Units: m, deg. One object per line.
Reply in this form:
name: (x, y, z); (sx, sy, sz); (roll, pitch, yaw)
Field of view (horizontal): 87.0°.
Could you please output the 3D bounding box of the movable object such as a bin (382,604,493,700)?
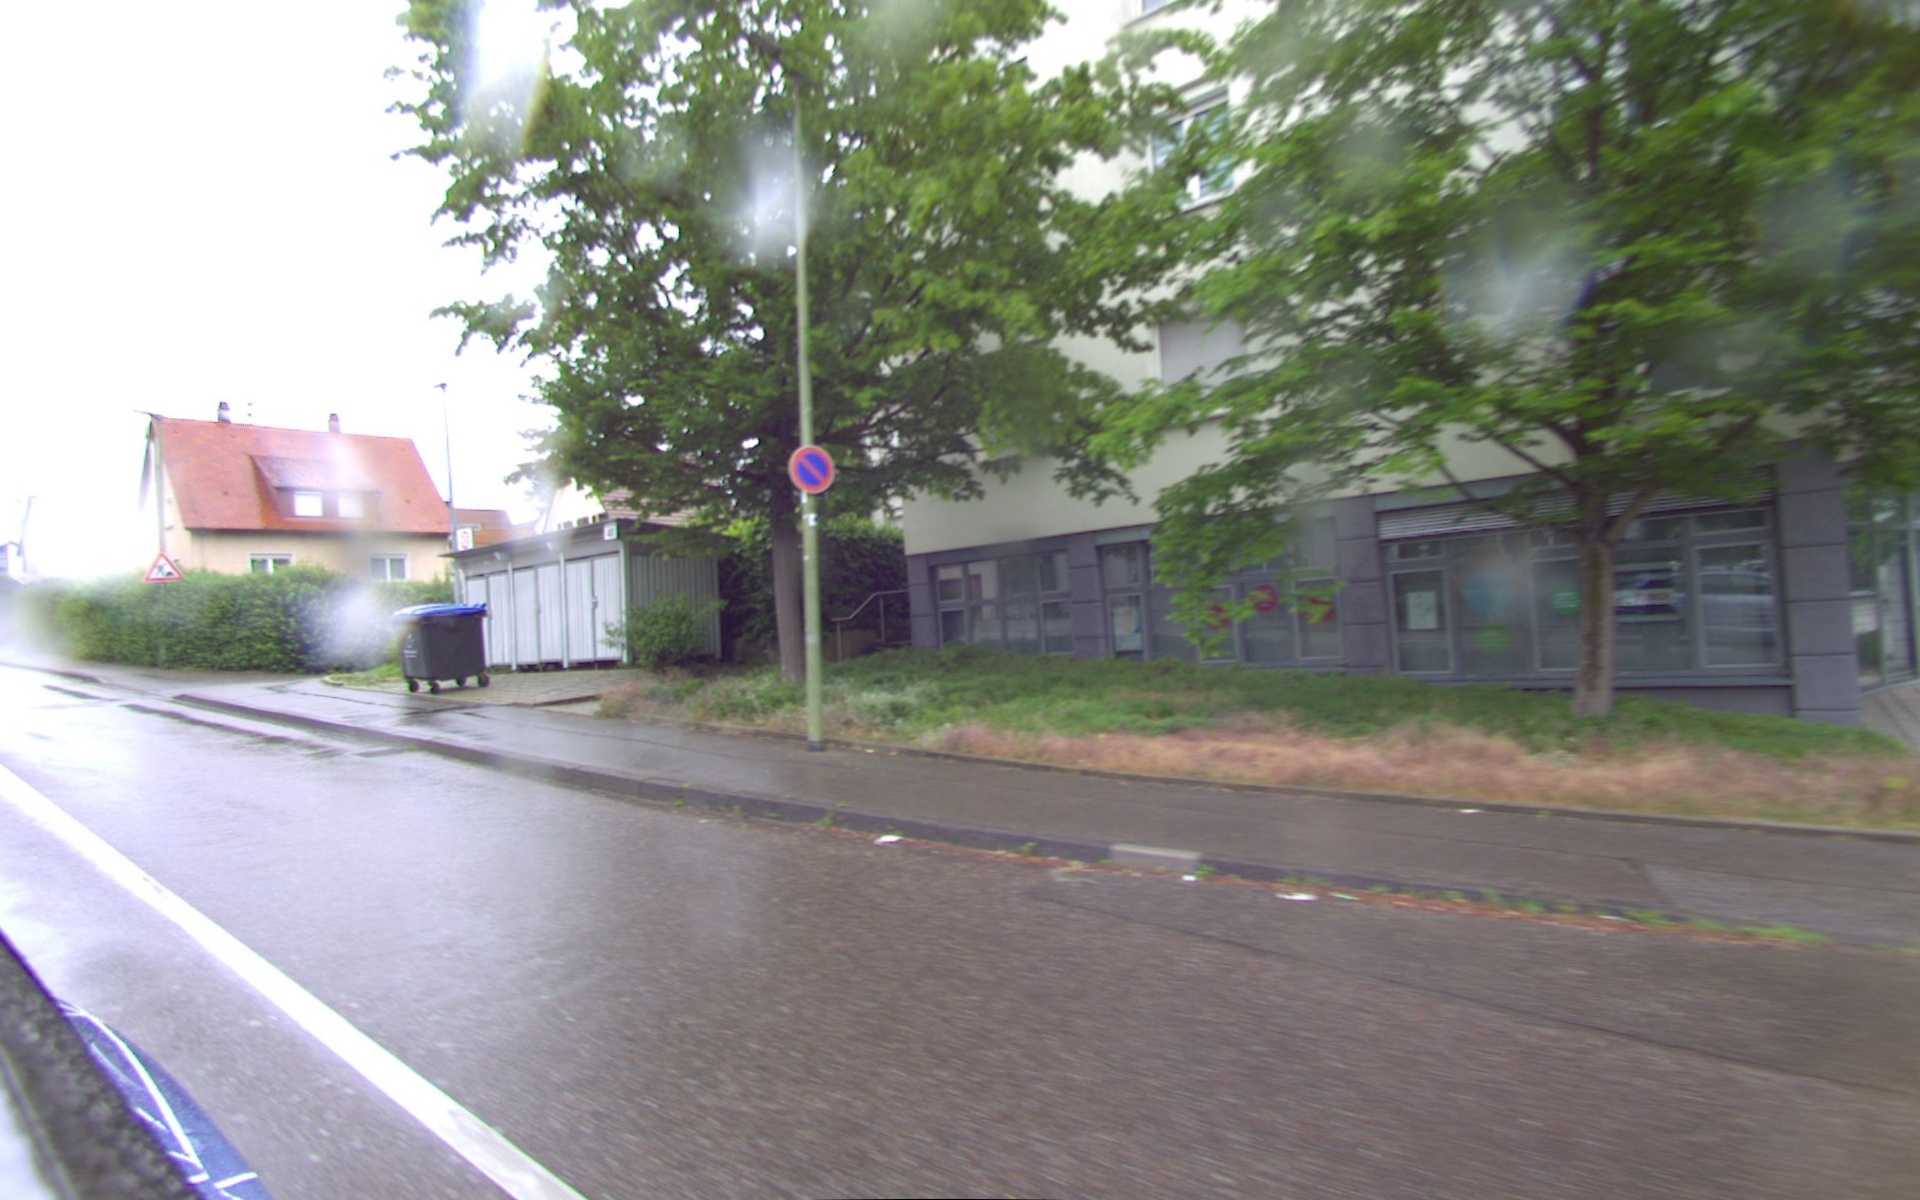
movable object such as a bin: (-8.033, 0.787, 15.561); (1.201, 1.306, 1.043); (-3, 4, 41)
